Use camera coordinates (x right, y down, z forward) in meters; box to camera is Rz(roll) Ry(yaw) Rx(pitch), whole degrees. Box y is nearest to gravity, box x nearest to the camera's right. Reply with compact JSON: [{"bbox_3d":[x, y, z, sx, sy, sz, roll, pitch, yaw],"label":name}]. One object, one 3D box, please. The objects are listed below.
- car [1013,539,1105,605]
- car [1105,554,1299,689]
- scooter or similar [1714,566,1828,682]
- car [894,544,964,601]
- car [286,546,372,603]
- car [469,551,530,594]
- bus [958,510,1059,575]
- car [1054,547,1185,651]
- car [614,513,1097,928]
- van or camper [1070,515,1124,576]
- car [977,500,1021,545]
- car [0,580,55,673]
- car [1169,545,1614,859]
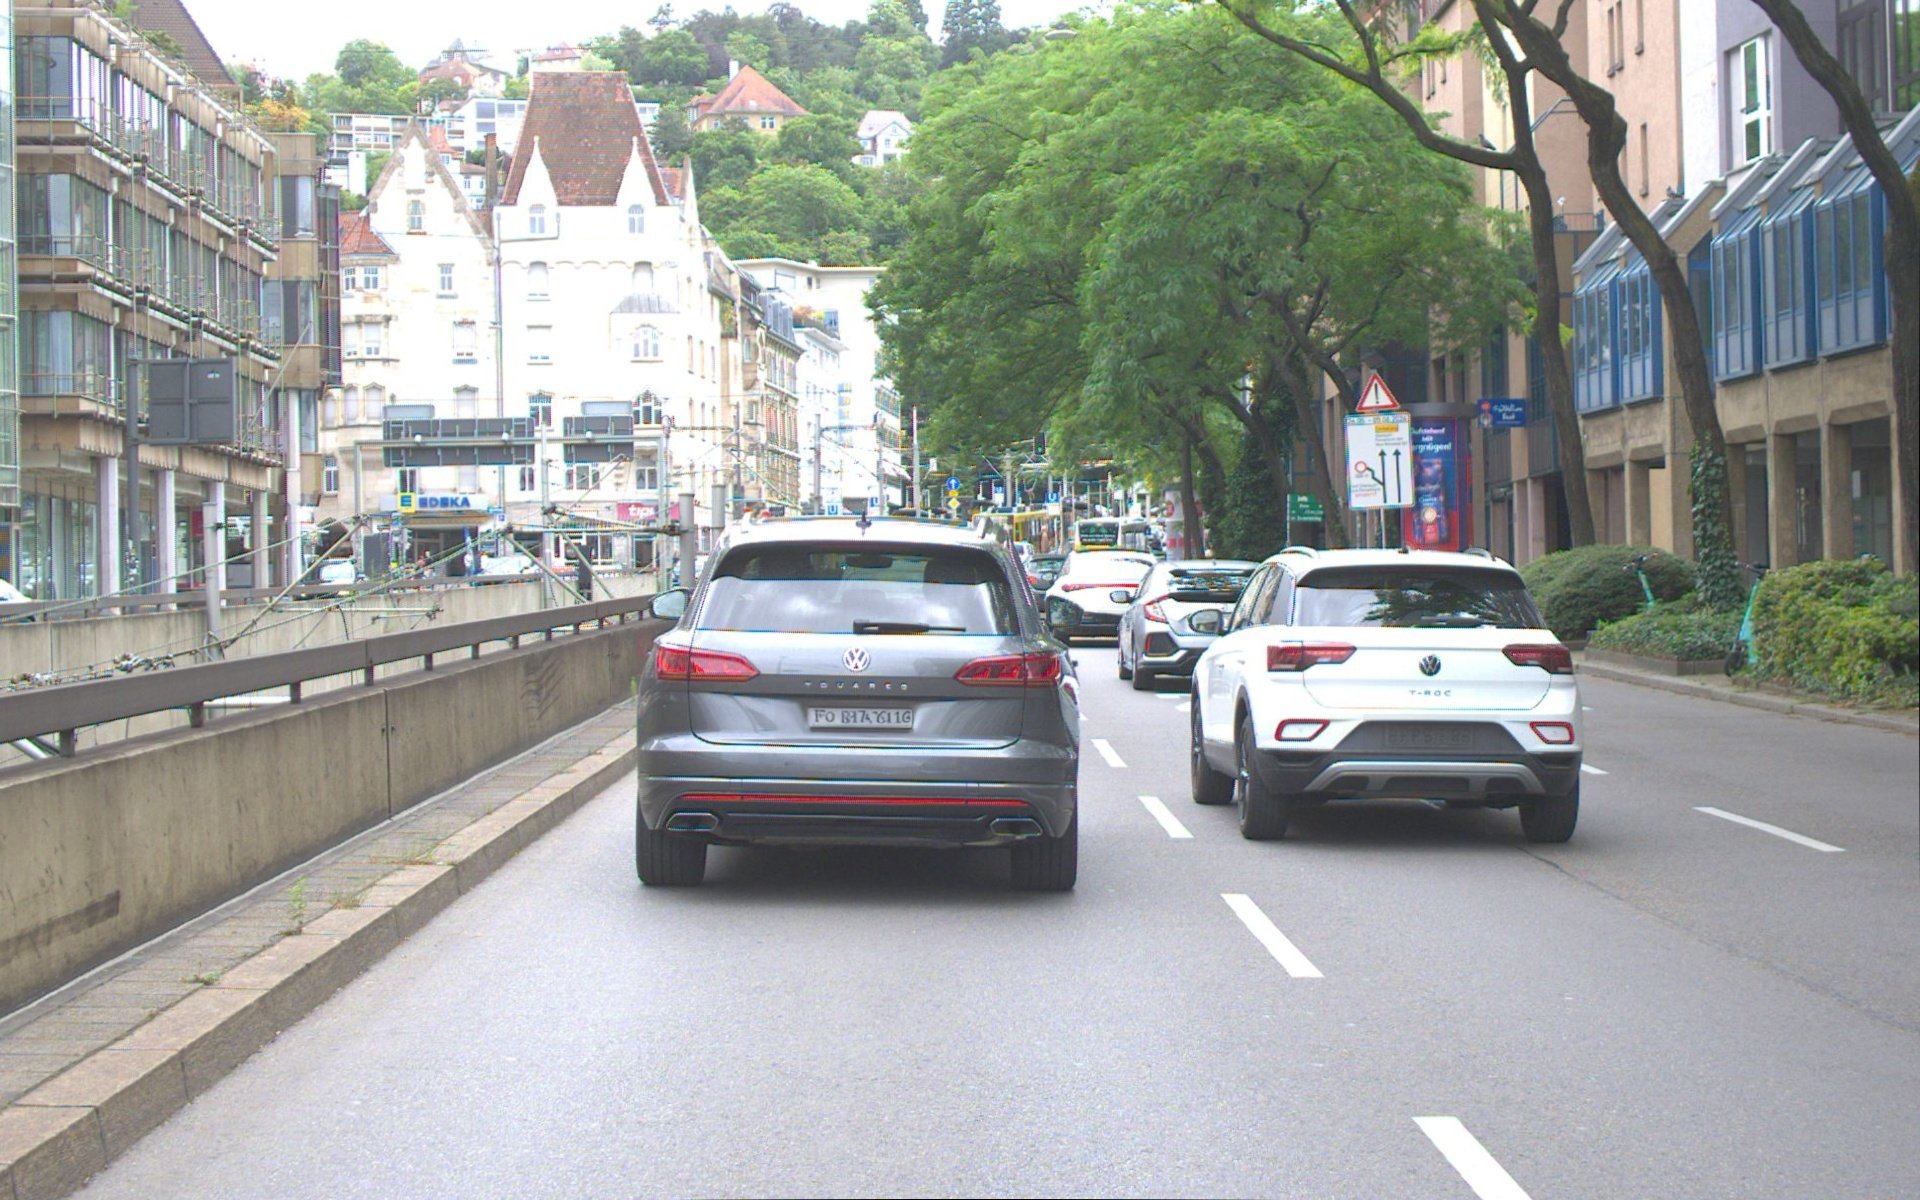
[{"bbox_3d":[2.170,-0.623,76.064,1.832,1.358,3.767,-2,1,-1],"label":"car"},{"bbox_3d":[2.643,0.237,38.373,1.833,1.427,4.147,0,0,0],"label":"car"},{"bbox_3d":[8.583,0.250,36.414,1.108,1.177,0.427,-2,1,10],"label":"scooter or similar"},{"bbox_3d":[-0.921,-0.793,99.862,1.832,1.561,3.767,-2,1,-3],"label":"car"},{"bbox_3d":[-20.327,-0.847,110.937,1.993,1.761,4.281,-1,1,0],"label":"car"},{"bbox_3d":[-19.624,-1.171,146.596,1.993,1.761,4.281,-1,1,0],"label":"car"},{"bbox_3d":[2.899,-3.311,197.915,3.851,3.520,17.241,-1,1,7],"label":"bus"},{"bbox_3d":[2.454,-0.032,53.686,1.832,1.512,3.767,-2,1,0],"label":"car"},{"bbox_3d":[-0.541,0.458,16.196,1.970,1.690,4.225,0,1,-3],"label":"car"},{"bbox_3d":[7.394,-2.926,185.010,2.628,3.167,5.802,-1,1,5],"label":"van or camper"},{"bbox_3d":[1.708,-3.380,150.629,1.832,1.868,4.870,-2,1,1],"label":"car"},{"bbox_3d":[-17.676,0.488,60.584,1.993,1.580,4.887,-1,1,2],"label":"car"},{"bbox_3d":[2.300,0.499,19.331,1.797,1.540,3.936,2,0,-3],"label":"car"}]
